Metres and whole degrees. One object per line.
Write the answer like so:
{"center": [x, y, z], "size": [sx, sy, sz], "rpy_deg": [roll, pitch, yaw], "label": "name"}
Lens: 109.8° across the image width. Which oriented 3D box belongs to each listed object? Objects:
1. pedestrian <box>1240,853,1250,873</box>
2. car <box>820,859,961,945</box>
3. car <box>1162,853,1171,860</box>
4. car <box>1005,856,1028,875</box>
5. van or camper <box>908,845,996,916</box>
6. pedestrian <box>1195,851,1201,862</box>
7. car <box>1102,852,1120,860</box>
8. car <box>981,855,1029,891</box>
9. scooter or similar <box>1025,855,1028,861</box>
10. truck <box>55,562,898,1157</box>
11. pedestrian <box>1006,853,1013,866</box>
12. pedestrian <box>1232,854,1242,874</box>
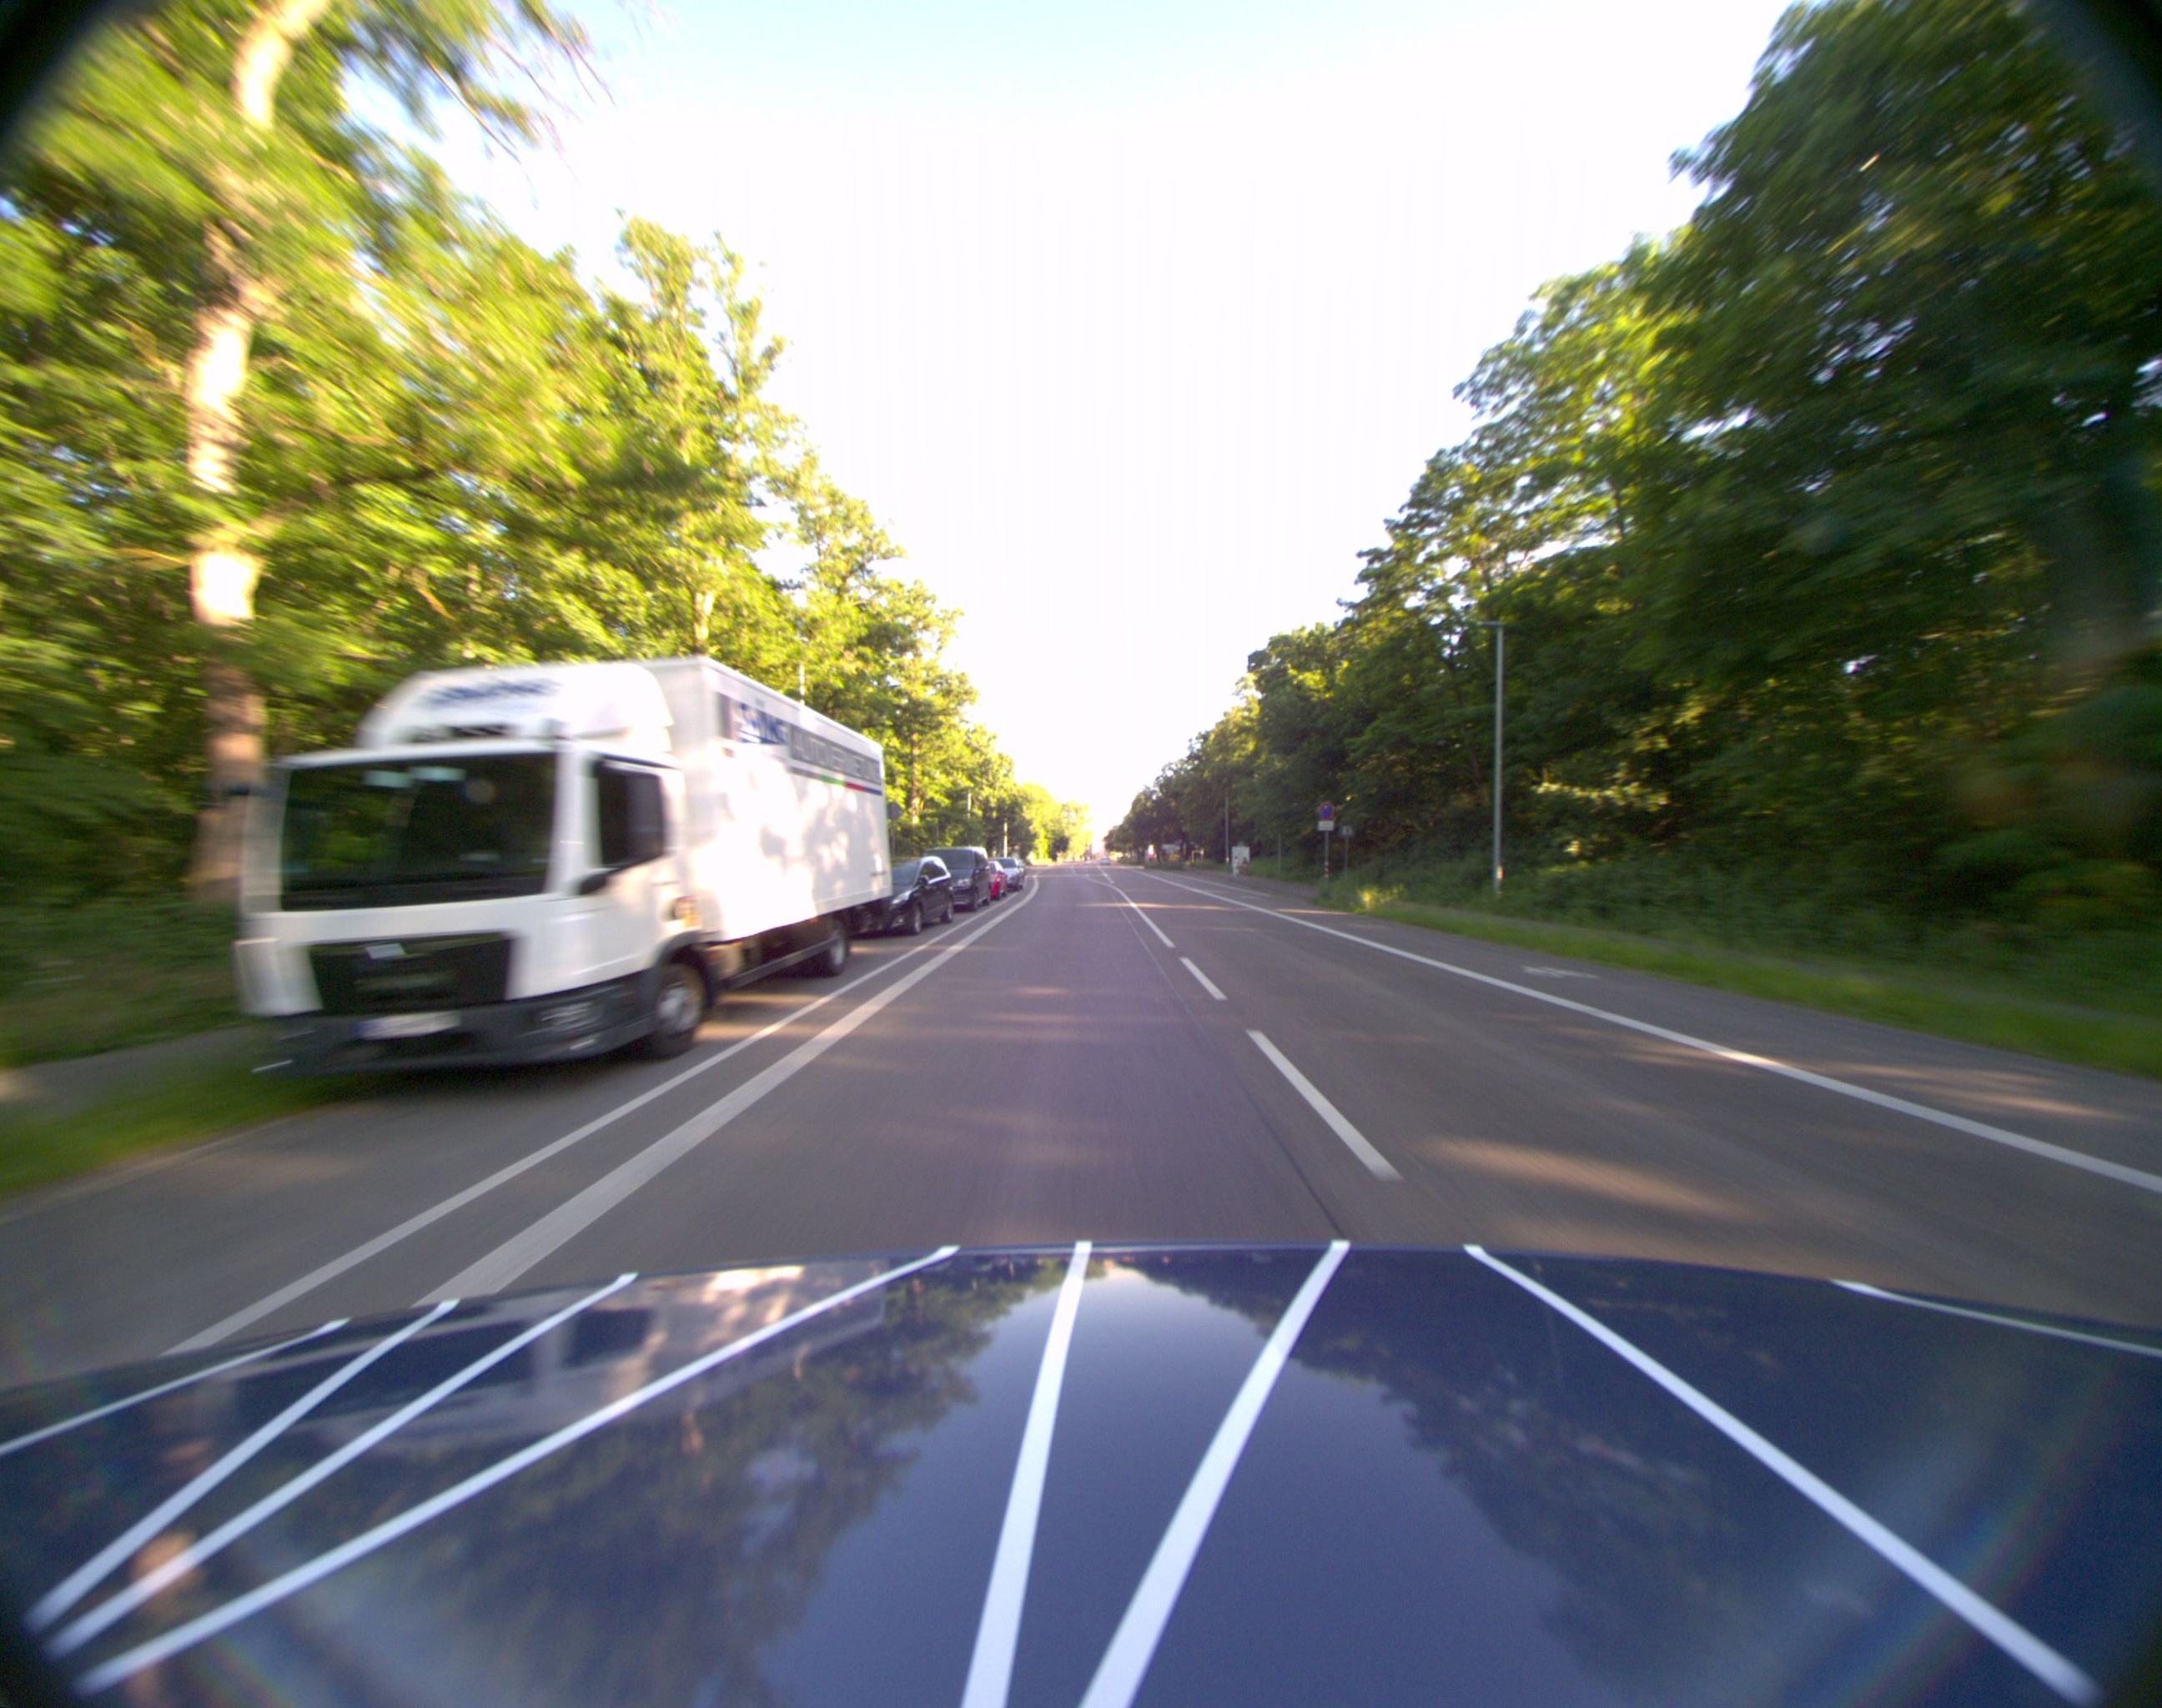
{"center": [13.496, 0.715, 62.528], "size": [0.676, 1.644, 0.790], "rpy_deg": [0, 1, 5], "label": "pedestrian"}
{"center": [-4.094, 0.960, 17.056], "size": [1.802, 1.647, 4.030], "rpy_deg": [0, 0, 5], "label": "car"}
{"center": [19.954, 0.564, 177.193], "size": [1.758, 1.631, 3.612], "rpy_deg": [0, 0, 2], "label": "car"}
{"center": [-5.318, 0.916, 63.215], "size": [1.742, 1.516, 4.358], "rpy_deg": [0, 0, -3], "label": "car"}
{"center": [-3.894, 0.746, 23.735], "size": [1.902, 2.002, 4.586], "rpy_deg": [0, 0, 1], "label": "van or camper"}
{"center": [20.565, 0.463, 133.928], "size": [0.832, 1.809, 0.738], "rpy_deg": [0, 1, 30], "label": "pedestrian"}
{"center": [5.706, 0.301, 145.653], "size": [1.826, 1.517, 3.951], "rpy_deg": [0, 0, 29], "label": "car"}
{"center": [-3.555, 0.846, 36.288], "size": [1.803, 1.585, 4.029], "rpy_deg": [0, 0, 1], "label": "car"}
{"center": [-9.979, 0.731, 138.884], "size": [0.386, 1.177, 1.188], "rpy_deg": [0, 1, 0], "label": "scooter or similar"}
{"center": [-4.559, 0.021, 8.744], "size": [2.840, 3.477, 8.577], "rpy_deg": [0, 0, 0], "label": "truck"}
{"center": [-10.379, 0.822, 110.300], "size": [0.809, 1.789, 0.734], "rpy_deg": [0, 1, -1], "label": "pedestrian"}
{"center": [12.802, 0.786, 62.421], "size": [0.676, 1.644, 0.790], "rpy_deg": [0, 1, 5], "label": "pedestrian"}
